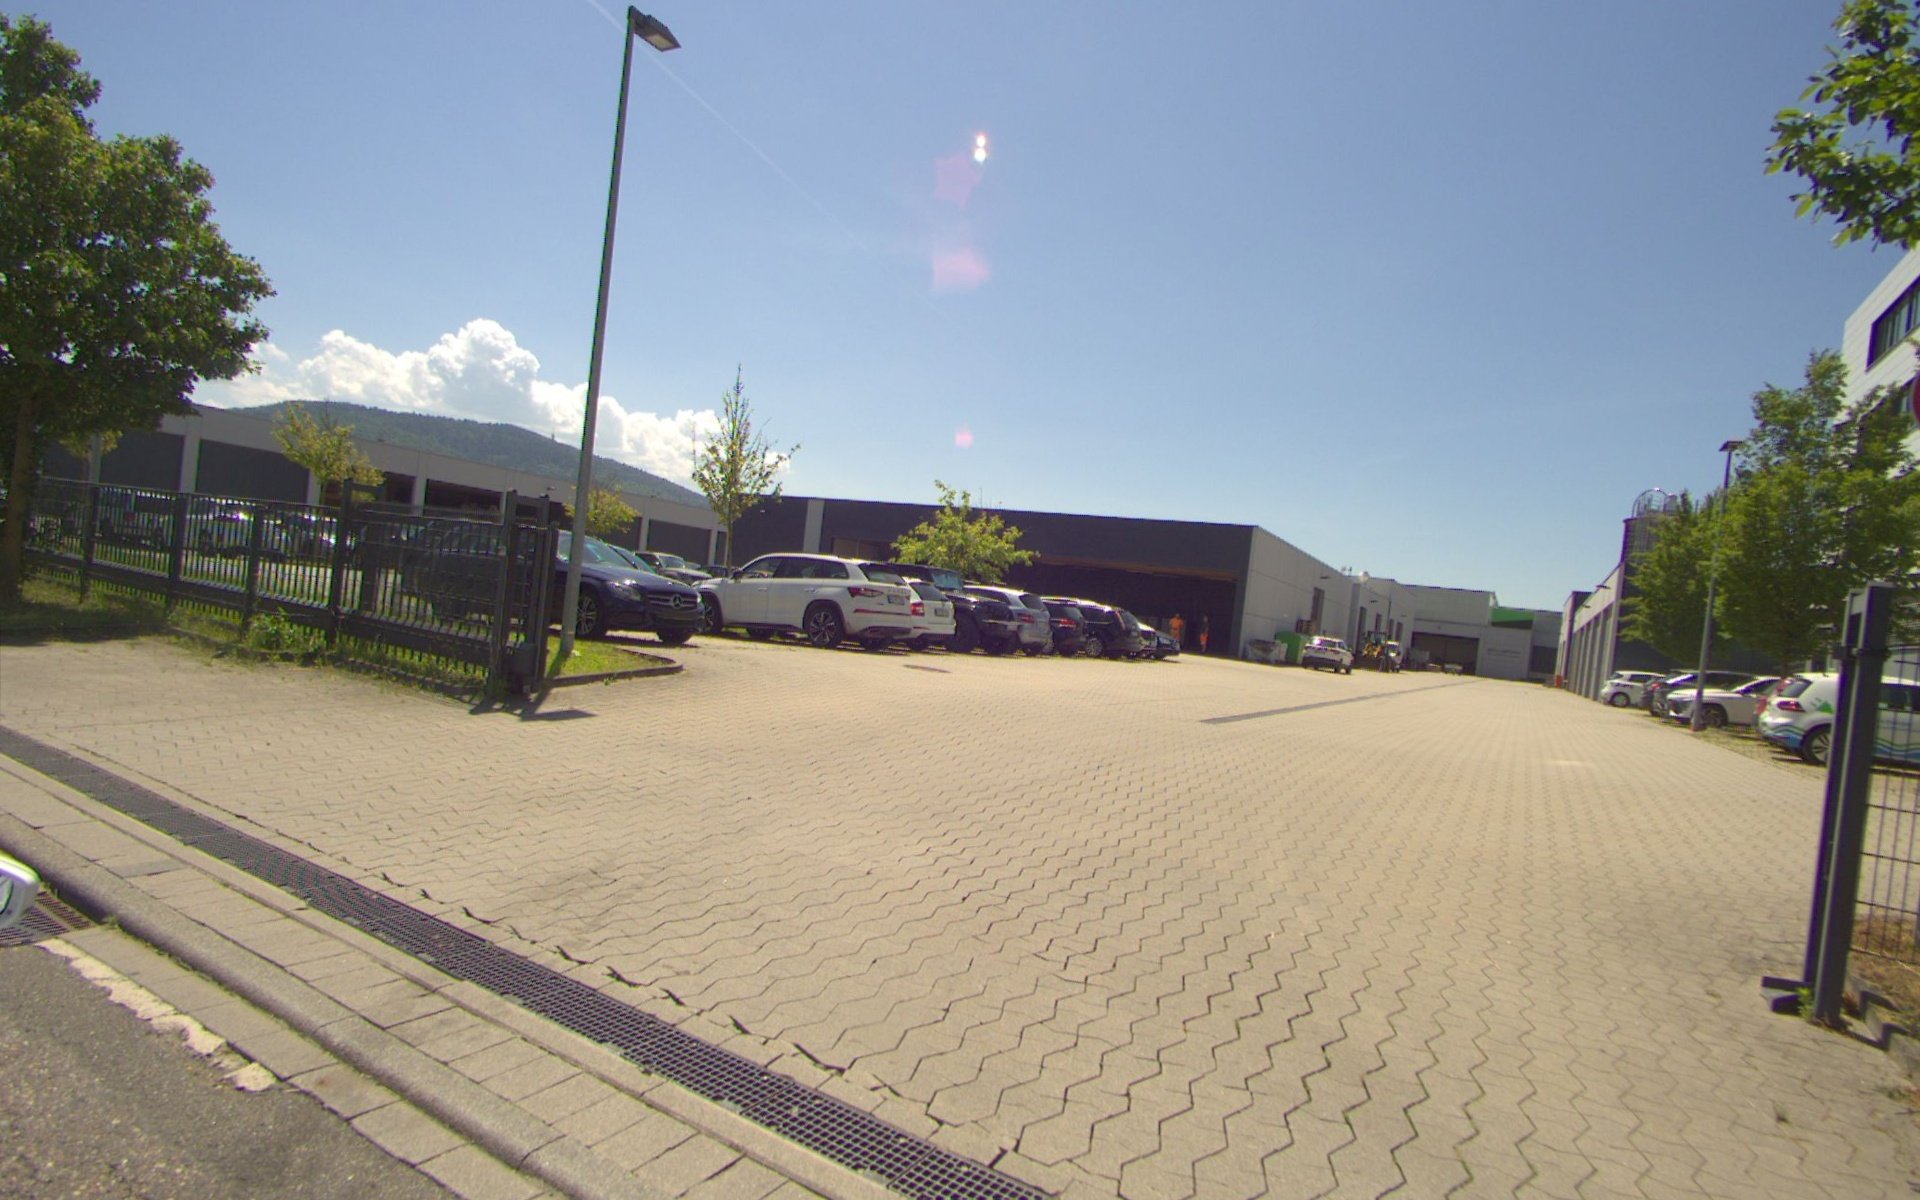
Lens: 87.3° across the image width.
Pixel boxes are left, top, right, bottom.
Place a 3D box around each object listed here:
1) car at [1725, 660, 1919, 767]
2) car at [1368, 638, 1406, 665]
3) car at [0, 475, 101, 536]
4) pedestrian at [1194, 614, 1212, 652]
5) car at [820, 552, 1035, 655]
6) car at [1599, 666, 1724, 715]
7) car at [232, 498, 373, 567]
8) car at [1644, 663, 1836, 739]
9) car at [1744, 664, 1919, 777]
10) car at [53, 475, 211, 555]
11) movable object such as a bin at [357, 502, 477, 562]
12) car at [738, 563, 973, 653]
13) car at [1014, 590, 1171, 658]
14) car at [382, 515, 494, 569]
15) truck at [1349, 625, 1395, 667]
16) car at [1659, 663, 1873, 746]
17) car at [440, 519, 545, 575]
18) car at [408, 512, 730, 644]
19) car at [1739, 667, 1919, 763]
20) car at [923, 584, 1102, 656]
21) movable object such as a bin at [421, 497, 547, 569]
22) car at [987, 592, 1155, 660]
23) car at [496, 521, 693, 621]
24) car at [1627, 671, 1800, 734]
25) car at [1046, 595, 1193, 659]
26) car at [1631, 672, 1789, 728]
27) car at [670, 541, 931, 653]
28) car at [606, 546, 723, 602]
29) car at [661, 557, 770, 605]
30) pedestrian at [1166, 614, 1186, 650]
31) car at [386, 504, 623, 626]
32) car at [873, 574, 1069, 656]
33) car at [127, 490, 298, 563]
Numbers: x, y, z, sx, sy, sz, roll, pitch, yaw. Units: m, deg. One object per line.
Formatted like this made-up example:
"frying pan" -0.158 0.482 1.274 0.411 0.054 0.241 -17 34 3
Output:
"car" 16.615 2.095 18.196 4.156 1.549 1.806 5 0 33
"car" 31.532 3.841 74.282 1.891 1.717 4.102 7 1 31
"car" -28.773 -2.919 31.074 4.392 1.541 1.883 4 -1 28
"pedestrian" 11.552 1.579 47.758 0.539 1.742 0.447 7 2 32
"car" -0.764 0.071 22.985 4.439 1.923 1.914 5 -1 29
"car" 28.825 3.697 41.493 3.973 1.481 1.683 5 0 31
"car" -20.472 -2.113 31.288 4.345 1.500 1.792 9 1 29
"car" 22.122 2.826 28.743 4.046 1.571 1.616 5 1 31
"car" 15.078 1.974 15.748 4.156 1.479 1.806 5 0 33
"car" -22.559 -2.322 27.379 4.345 1.550 1.792 9 1 29
"movable object such as a bin" -36.071 -4.538 66.798 7.195 3.032 3.545 7 1 30
"car" -2.213 0.157 21.031 4.571 1.450 1.842 5 -1 29
"car" 4.196 0.748 32.046 4.455 1.736 1.914 5 -1 29
"car" -25.307 -2.828 48.725 5.560 2.291 1.883 4 -1 28
"truck" 28.065 3.157 68.400 1.966 2.589 5.226 7 1 30
"car" 20.950 2.669 26.380 4.046 1.571 1.616 5 1 31
"car" -23.791 -2.716 51.160 5.412 2.508 1.883 4 0 28
"car" -5.556 -0.333 14.174 4.335 1.472 1.792 5 -1 29
"car" 17.973 2.305 19.965 3.725 1.514 1.615 5 0 33
"car" 1.428 0.549 27.671 4.439 1.552 1.914 5 -1 29
"movable object such as a bin" -33.612 -4.752 70.991 8.519 4.024 3.545 7 1 30
"car" 3.239 0.759 29.535 4.439 1.552 1.914 5 -1 29
"car" -7.833 -0.630 21.502 3.953 1.511 1.648 9 1 29
"car" 23.262 3.118 31.253 4.046 1.375 1.616 5 0 31
"car" 5.416 0.904 34.208 4.455 1.736 1.914 5 -1 29
"car" 24.558 3.252 33.112 3.901 1.278 1.616 5 0 31
"car" -3.020 -0.076 18.807 4.571 1.674 1.842 5 -1 29
"car" -11.018 -0.982 37.484 4.030 1.703 1.792 5 -1 29
"car" -9.764 -0.769 40.121 4.030 1.534 1.792 5 -1 29
"pedestrian" 10.522 1.542 48.997 0.510 1.679 0.702 7 2 36
"car" -8.549 -0.671 18.819 4.168 1.643 1.792 9 1 29
"car" 0.242 0.368 25.205 4.439 1.642 1.914 5 -1 29
"car" -18.369 -1.812 24.708 4.073 1.450 1.792 5 -1 29
